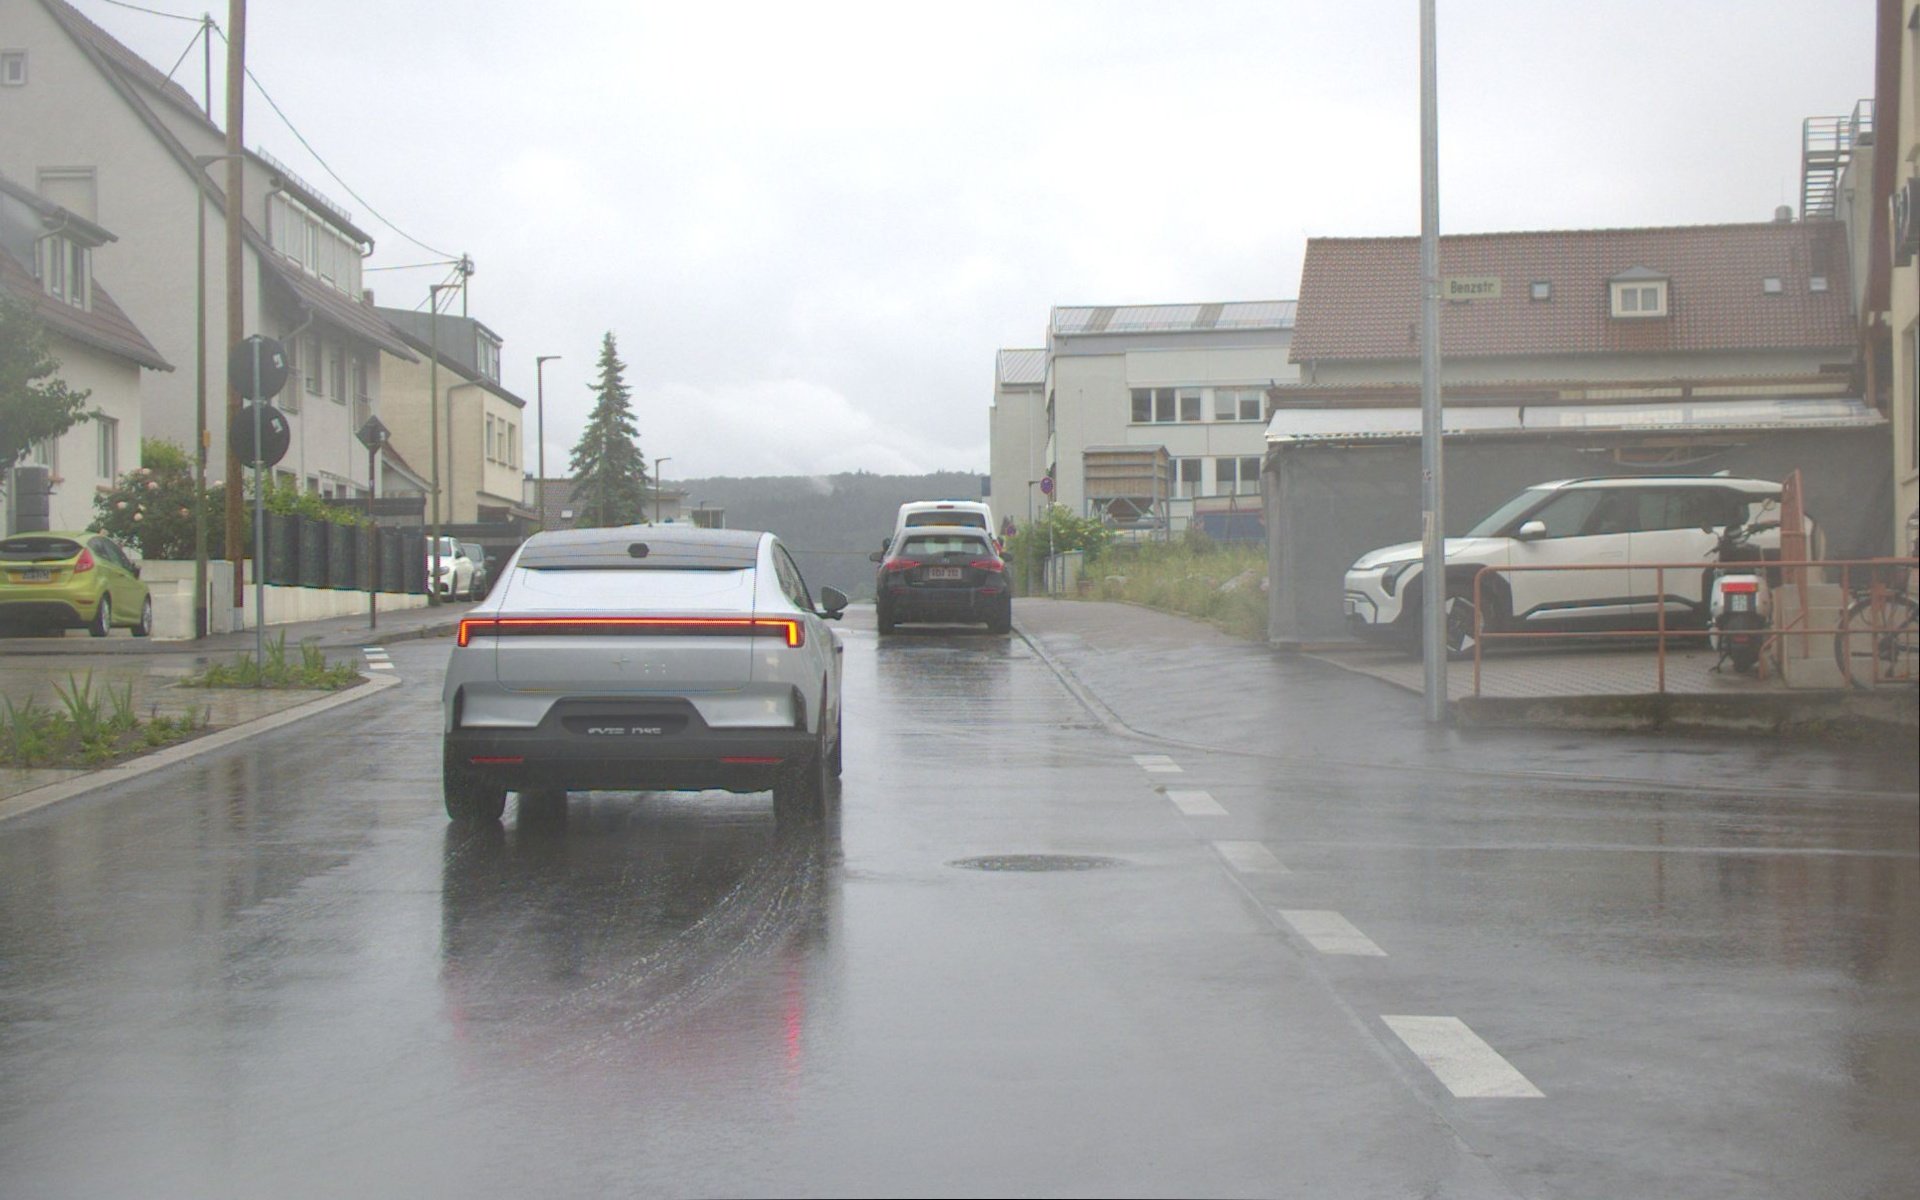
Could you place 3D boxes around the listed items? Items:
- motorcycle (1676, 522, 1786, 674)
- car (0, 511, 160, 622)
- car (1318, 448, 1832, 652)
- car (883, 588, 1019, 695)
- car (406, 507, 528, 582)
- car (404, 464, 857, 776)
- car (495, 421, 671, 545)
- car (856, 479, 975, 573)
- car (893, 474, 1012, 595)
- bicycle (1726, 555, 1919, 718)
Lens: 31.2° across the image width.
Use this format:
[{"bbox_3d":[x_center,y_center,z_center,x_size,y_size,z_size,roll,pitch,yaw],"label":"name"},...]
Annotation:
[{"bbox_3d":[5.853,-0.038,26.157,0.488,1.092,2.000,0,2,3],"label":"motorcycle"},{"bbox_3d":[-12.281,-0.440,47.243,1.778,1.462,3.457,0,0,0],"label":"car"},{"bbox_3d":[5.499,-0.448,31.107,4.216,1.604,1.861,-3,0,-2],"label":"car"},{"bbox_3d":[-0.169,0.534,47.128,1.768,1.331,4.321,0,1,-1],"label":"car"},{"bbox_3d":[-10.815,-1.208,75.729,1.993,1.505,4.896,2,1,-1],"label":"car"},{"bbox_3d":[-1.668,0.062,19.015,1.993,1.497,4.670,0,1,1],"label":"car"},{"bbox_3d":[-4.905,-1.499,45.270,1.929,1.534,4.321,0,1,-1],"label":"car"},{"bbox_3d":[-0.814,-1.286,60.333,1.642,1.569,4.644,0,1,-6],"label":"car"},{"bbox_3d":[-0.154,-1.021,53.999,1.768,1.819,4.575,0,1,-1],"label":"car"},{"bbox_3d":[6.184,0.244,23.668,1.771,1.092,0.489,0,2,13],"label":"bicycle"}]
